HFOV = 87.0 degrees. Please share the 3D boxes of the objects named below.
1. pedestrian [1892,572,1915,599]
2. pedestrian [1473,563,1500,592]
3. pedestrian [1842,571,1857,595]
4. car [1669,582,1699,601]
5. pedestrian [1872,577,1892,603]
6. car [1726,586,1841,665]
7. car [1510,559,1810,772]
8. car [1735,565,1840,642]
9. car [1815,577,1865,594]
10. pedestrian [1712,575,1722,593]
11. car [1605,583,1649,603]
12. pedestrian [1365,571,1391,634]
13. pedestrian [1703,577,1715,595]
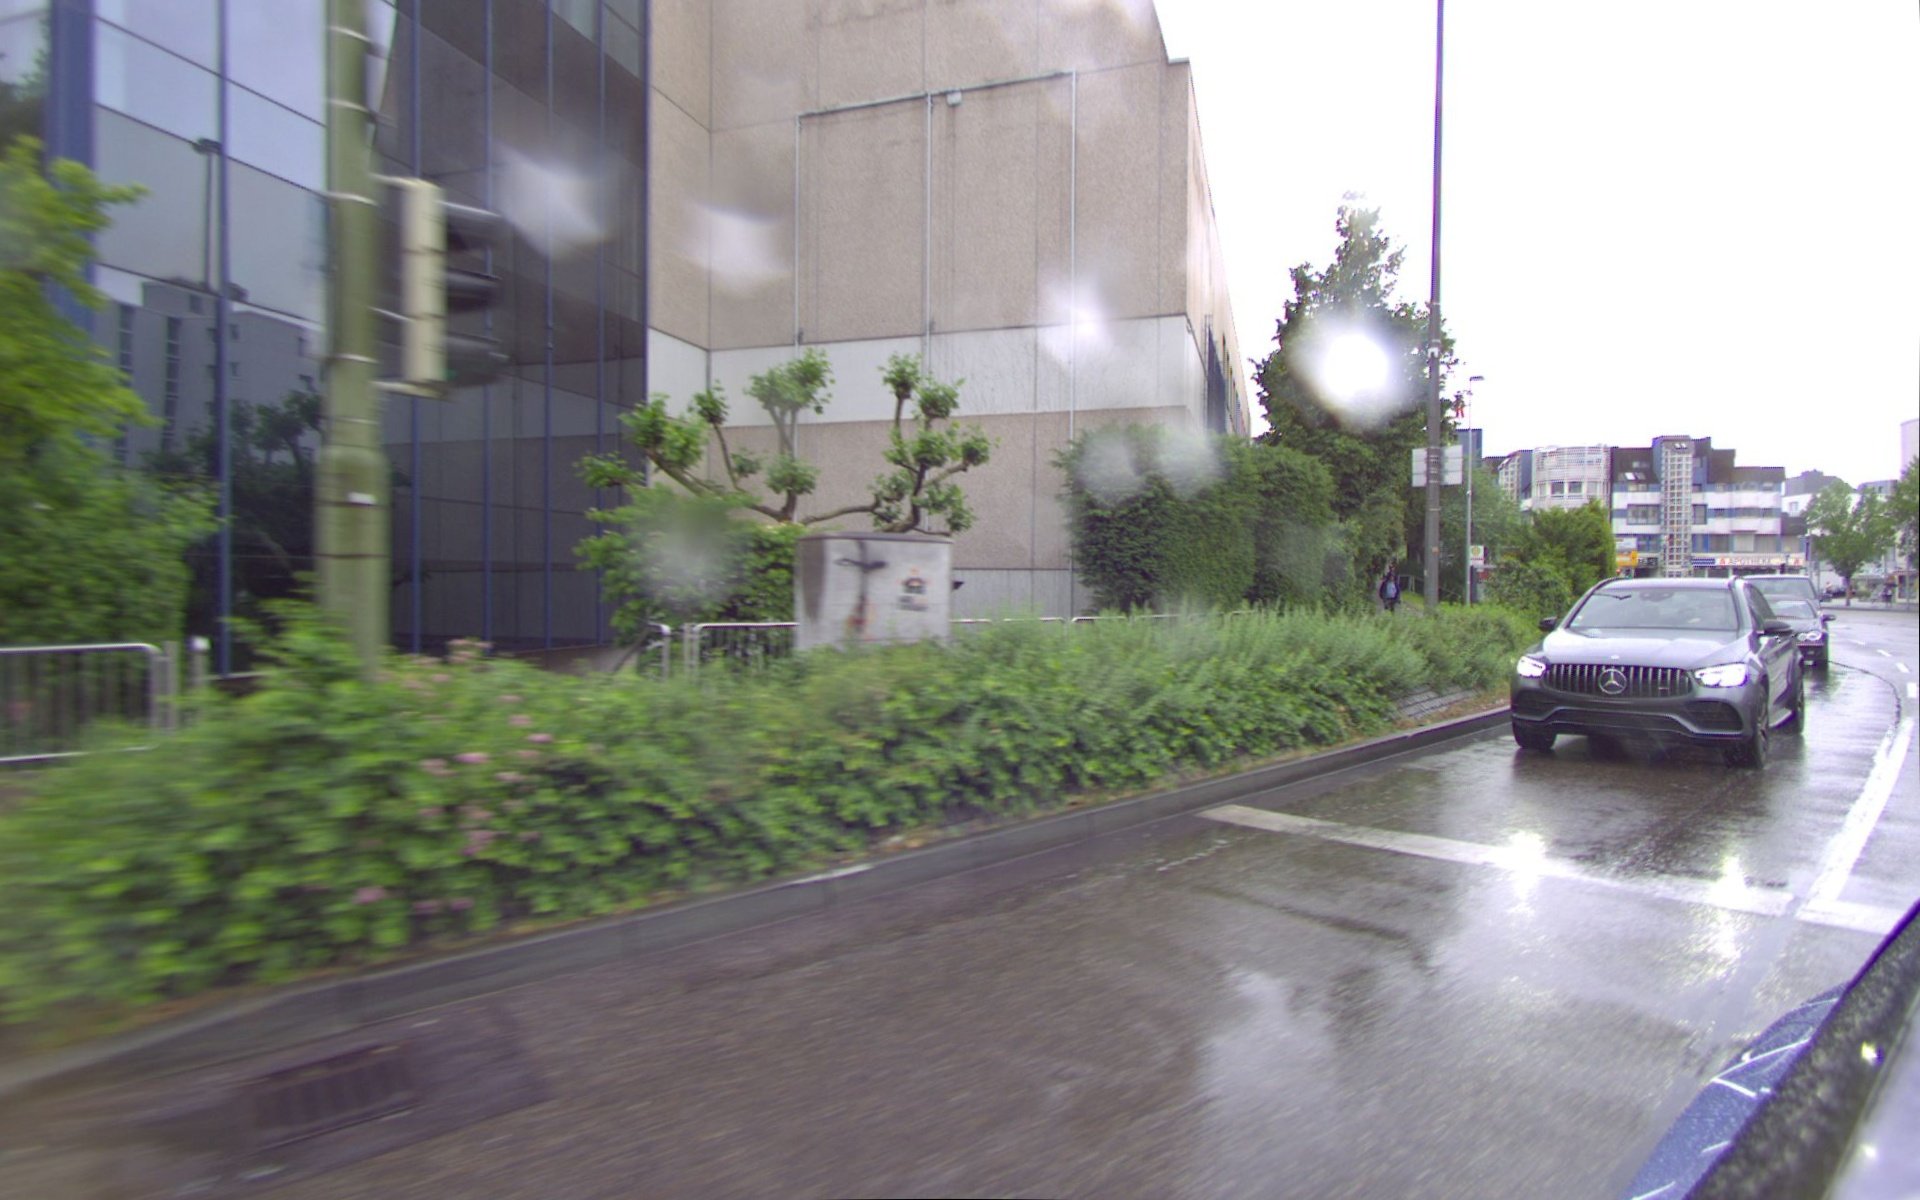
[{"bbox_3d":[69.032,-1.035,74.035,0.895,1.939,0.970,0,0,22],"label":"pedestrian"},{"bbox_3d":[24.923,-1.064,47.918,1.020,1.297,0.687,3,1,21],"label":"pedestrian"},{"bbox_3d":[76.296,-1.421,86.816,0.752,2.039,0.858,0,0,21],"label":"pedestrian"},{"bbox_3d":[58.871,-0.674,82.340,1.835,1.479,4.750,0,1,34],"label":"car"},{"bbox_3d":[68.435,-0.764,75.135,0.898,1.939,0.967,0,0,31],"label":"pedestrian"},{"bbox_3d":[16.533,0.427,20.344,1.629,1.403,4.451,0,1,39],"label":"car"},{"bbox_3d":[7.076,0.474,10.029,1.900,1.641,4.269,0,1,42],"label":"car"},{"bbox_3d":[22.502,0.029,27.664,1.990,1.918,4.527,0,1,37],"label":"car"},{"bbox_3d":[95.828,-1.566,110.201,3.826,1.742,1.745,0,0,5],"label":"car"},{"bbox_3d":[74.730,-1.535,99.875,0.575,1.765,0.682,-1,0,-42],"label":"pedestrian"},{"bbox_3d":[52.020,-0.524,79.020,1.739,1.470,3.979,0,0,16],"label":"car"},{"bbox_3d":[12.293,0.054,29.778,0.666,1.819,0.670,0,2,19],"label":"pedestrian"},{"bbox_3d":[73.212,-1.363,98.900,0.831,1.765,0.579,-1,0,29],"label":"pedestrian"}]
